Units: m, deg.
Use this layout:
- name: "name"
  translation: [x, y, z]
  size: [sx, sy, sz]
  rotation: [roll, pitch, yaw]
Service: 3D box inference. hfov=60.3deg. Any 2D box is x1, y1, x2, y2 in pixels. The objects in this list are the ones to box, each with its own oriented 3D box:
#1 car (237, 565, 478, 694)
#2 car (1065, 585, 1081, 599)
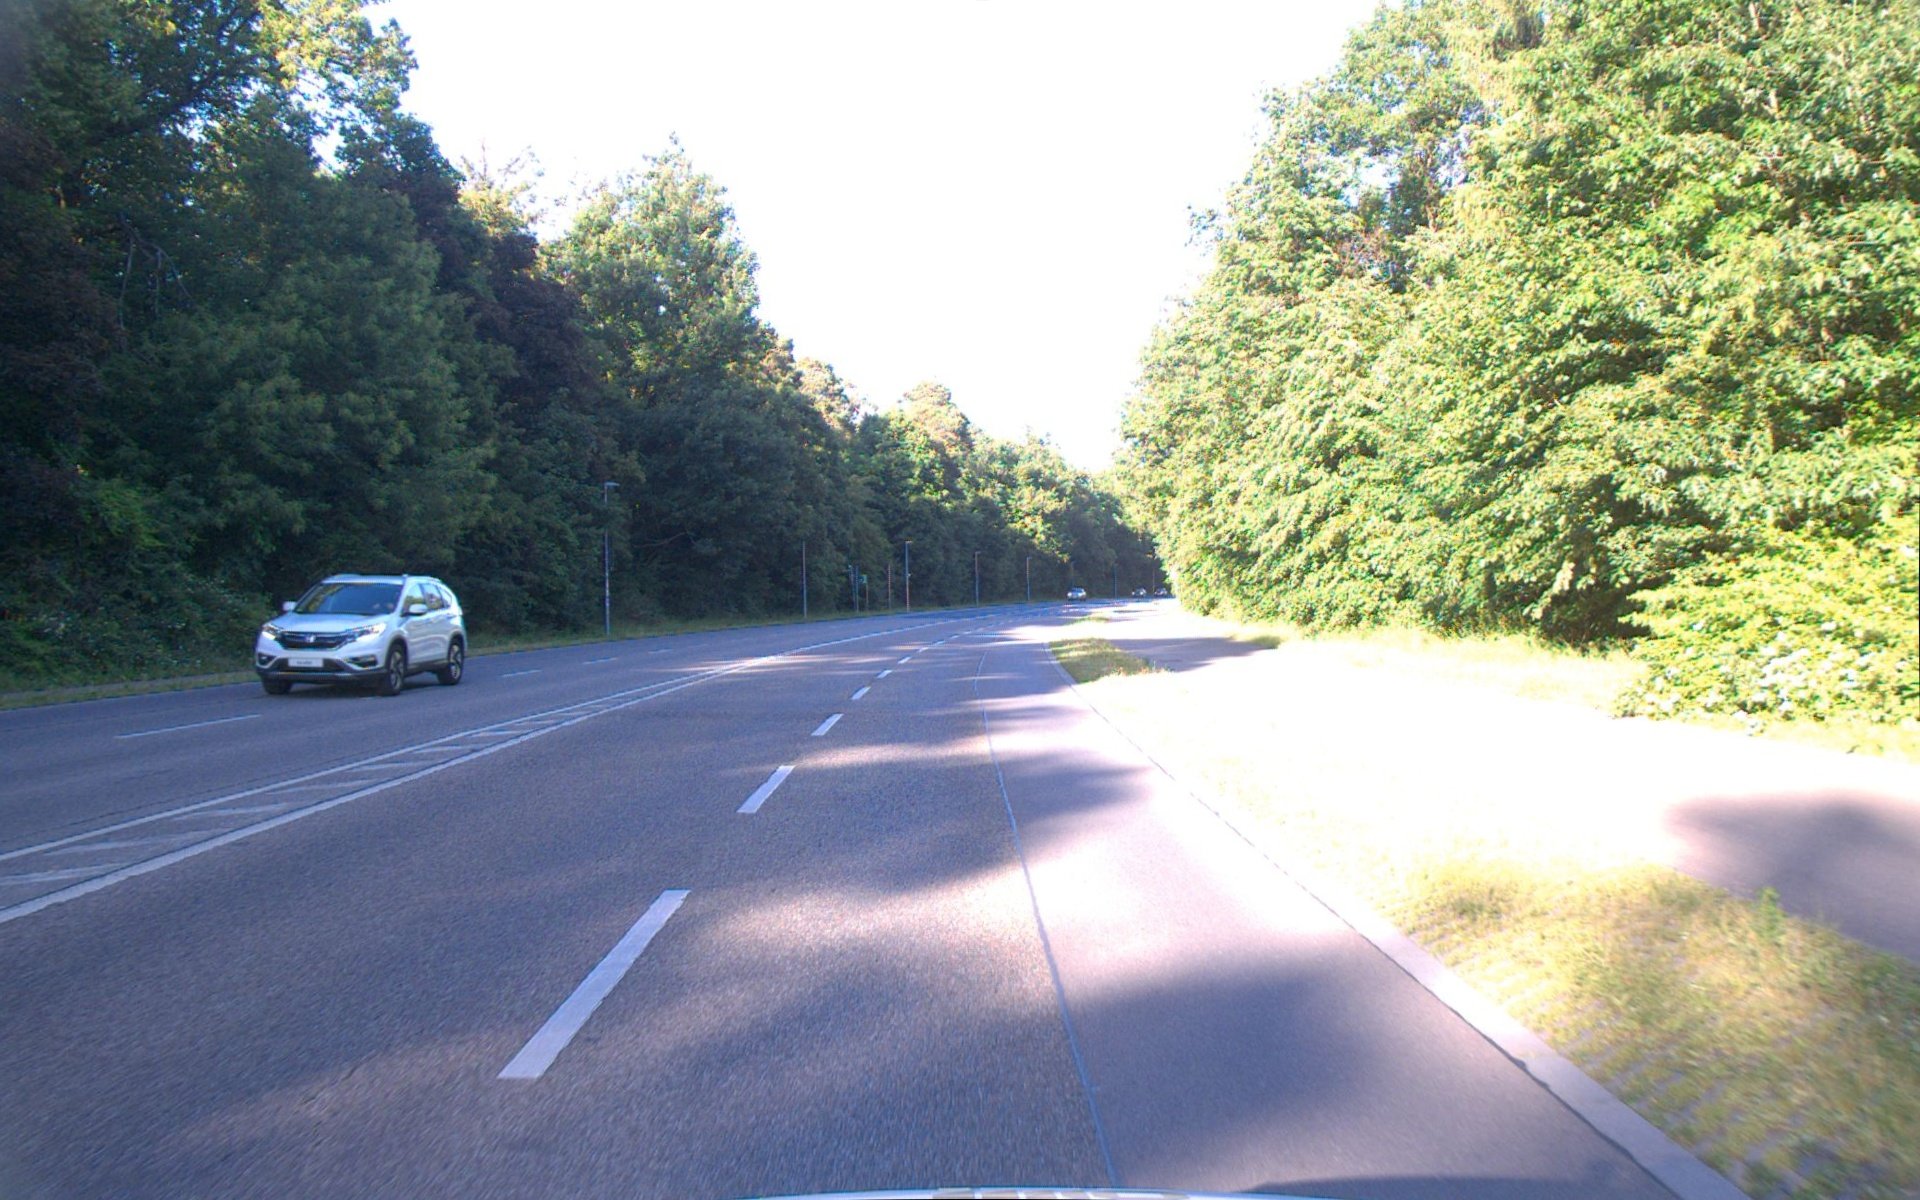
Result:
- name: "car"
  translation: [-8.646, 0.377, 24.205]
  size: [1.869, 1.693, 4.733]
  rotation: [0, 0, -1]
- name: "car"
  translation: [14.065, -0.969, 205.733]
  size: [1.952, 1.613, 4.001]
  rotation: [0, -1, 3]
